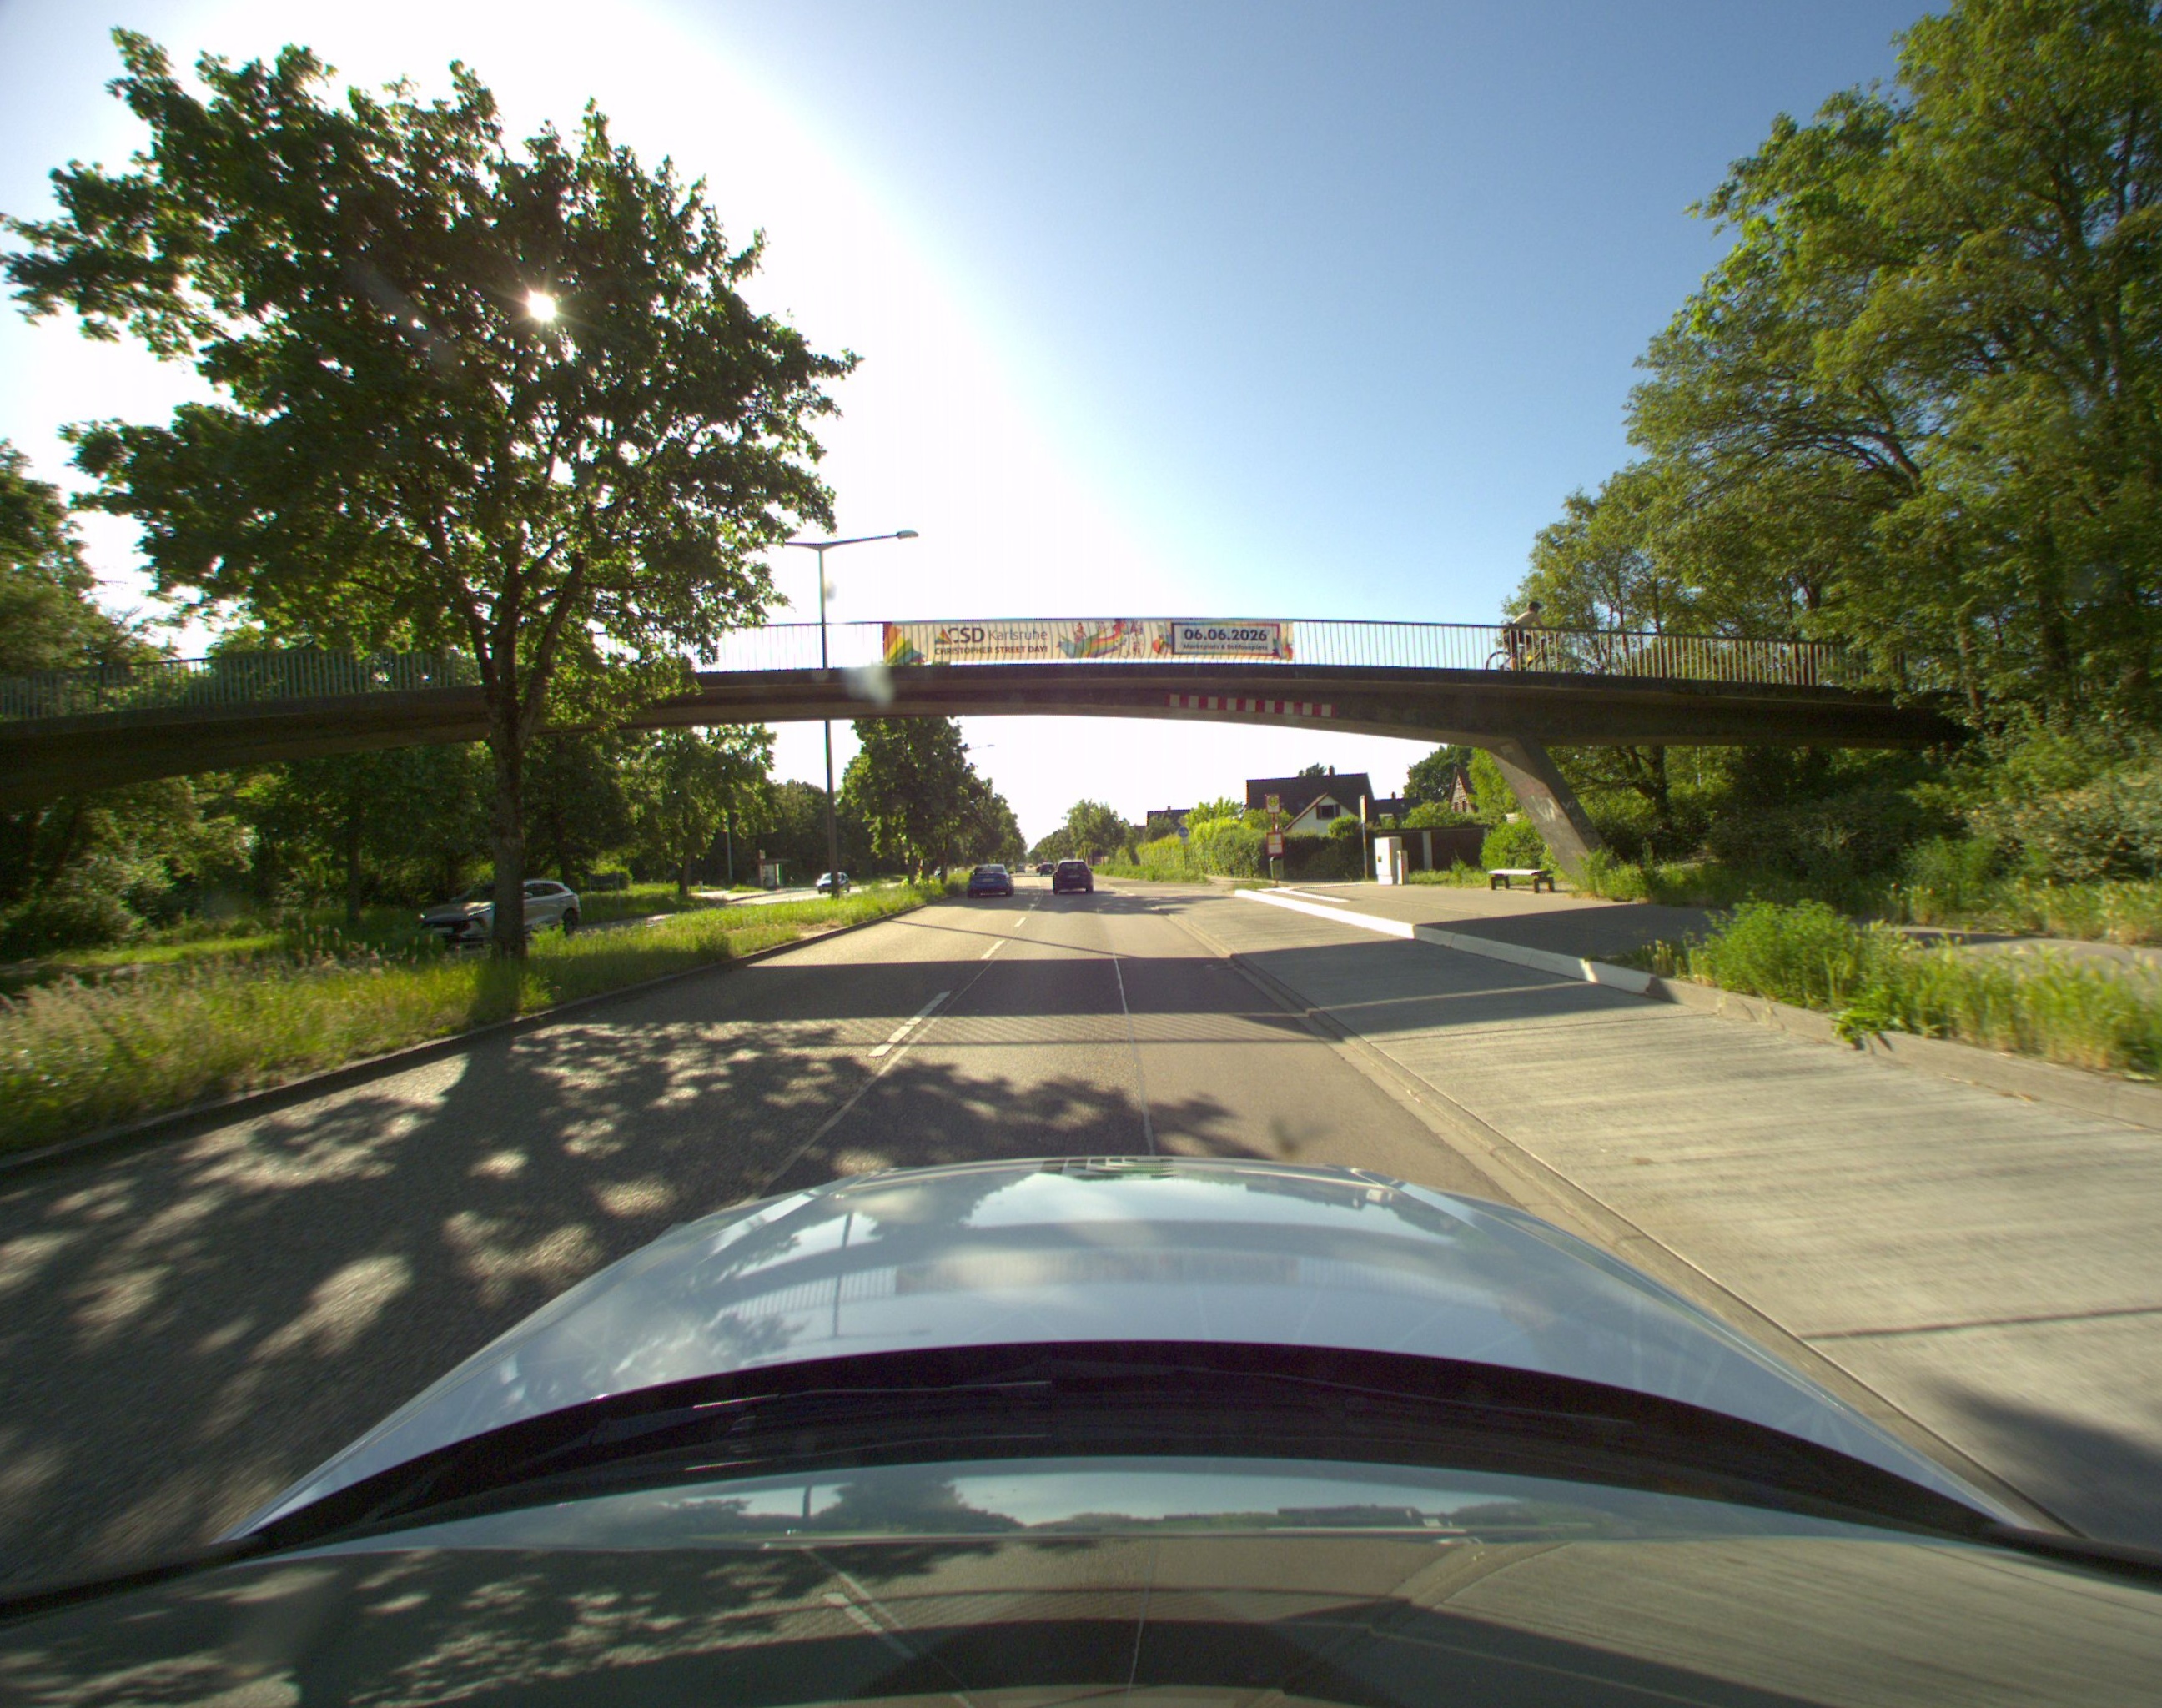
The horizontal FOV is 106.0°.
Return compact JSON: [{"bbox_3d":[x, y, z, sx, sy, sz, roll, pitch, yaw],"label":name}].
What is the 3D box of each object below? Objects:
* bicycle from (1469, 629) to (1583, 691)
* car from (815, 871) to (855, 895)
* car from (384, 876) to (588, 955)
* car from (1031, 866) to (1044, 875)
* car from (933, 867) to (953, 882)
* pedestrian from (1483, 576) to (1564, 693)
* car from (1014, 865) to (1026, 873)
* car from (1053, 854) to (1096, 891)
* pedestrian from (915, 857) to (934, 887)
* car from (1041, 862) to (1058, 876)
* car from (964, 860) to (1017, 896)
[{"bbox_3d":[9.183,-4.008,16.858,1.983,1.107,0.727,0,0,-1],"label":"bicycle"},{"bbox_3d":[-17.455,2.029,57.956,1.535,1.431,4.254,-4,0,-1],"label":"car"},{"bbox_3d":[-15.568,1.523,21.730,1.726,1.646,4.899,-4,0,0],"label":"car"},{"bbox_3d":[-7.378,2.739,138.234,1.897,1.356,3.989,-2,0,-8],"label":"car"},{"bbox_3d":[-16.186,2.342,95.635,1.727,1.632,4.191,-3,-1,-4],"label":"car"},{"bbox_3d":[9.149,-4.525,16.883,1.063,2.124,0.996,-2,0,-2],"label":"pedestrian"},{"bbox_3d":[-11.380,2.758,151.572,1.977,1.440,3.989,-2,0,-8],"label":"car"},{"bbox_3d":[-0.362,0.831,36.649,1.756,1.559,3.995,0,-1,-3],"label":"car"},{"bbox_3d":[-9.212,1.057,47.988,0.624,1.696,0.948,-2,-1,26],"label":"pedestrian"},{"bbox_3d":[-3.794,1.789,97.620,1.742,1.597,4.166,-2,0,-6],"label":"car"},{"bbox_3d":[-3.946,1.022,36.113,1.990,1.405,3.996,-2,0,-2],"label":"car"}]
